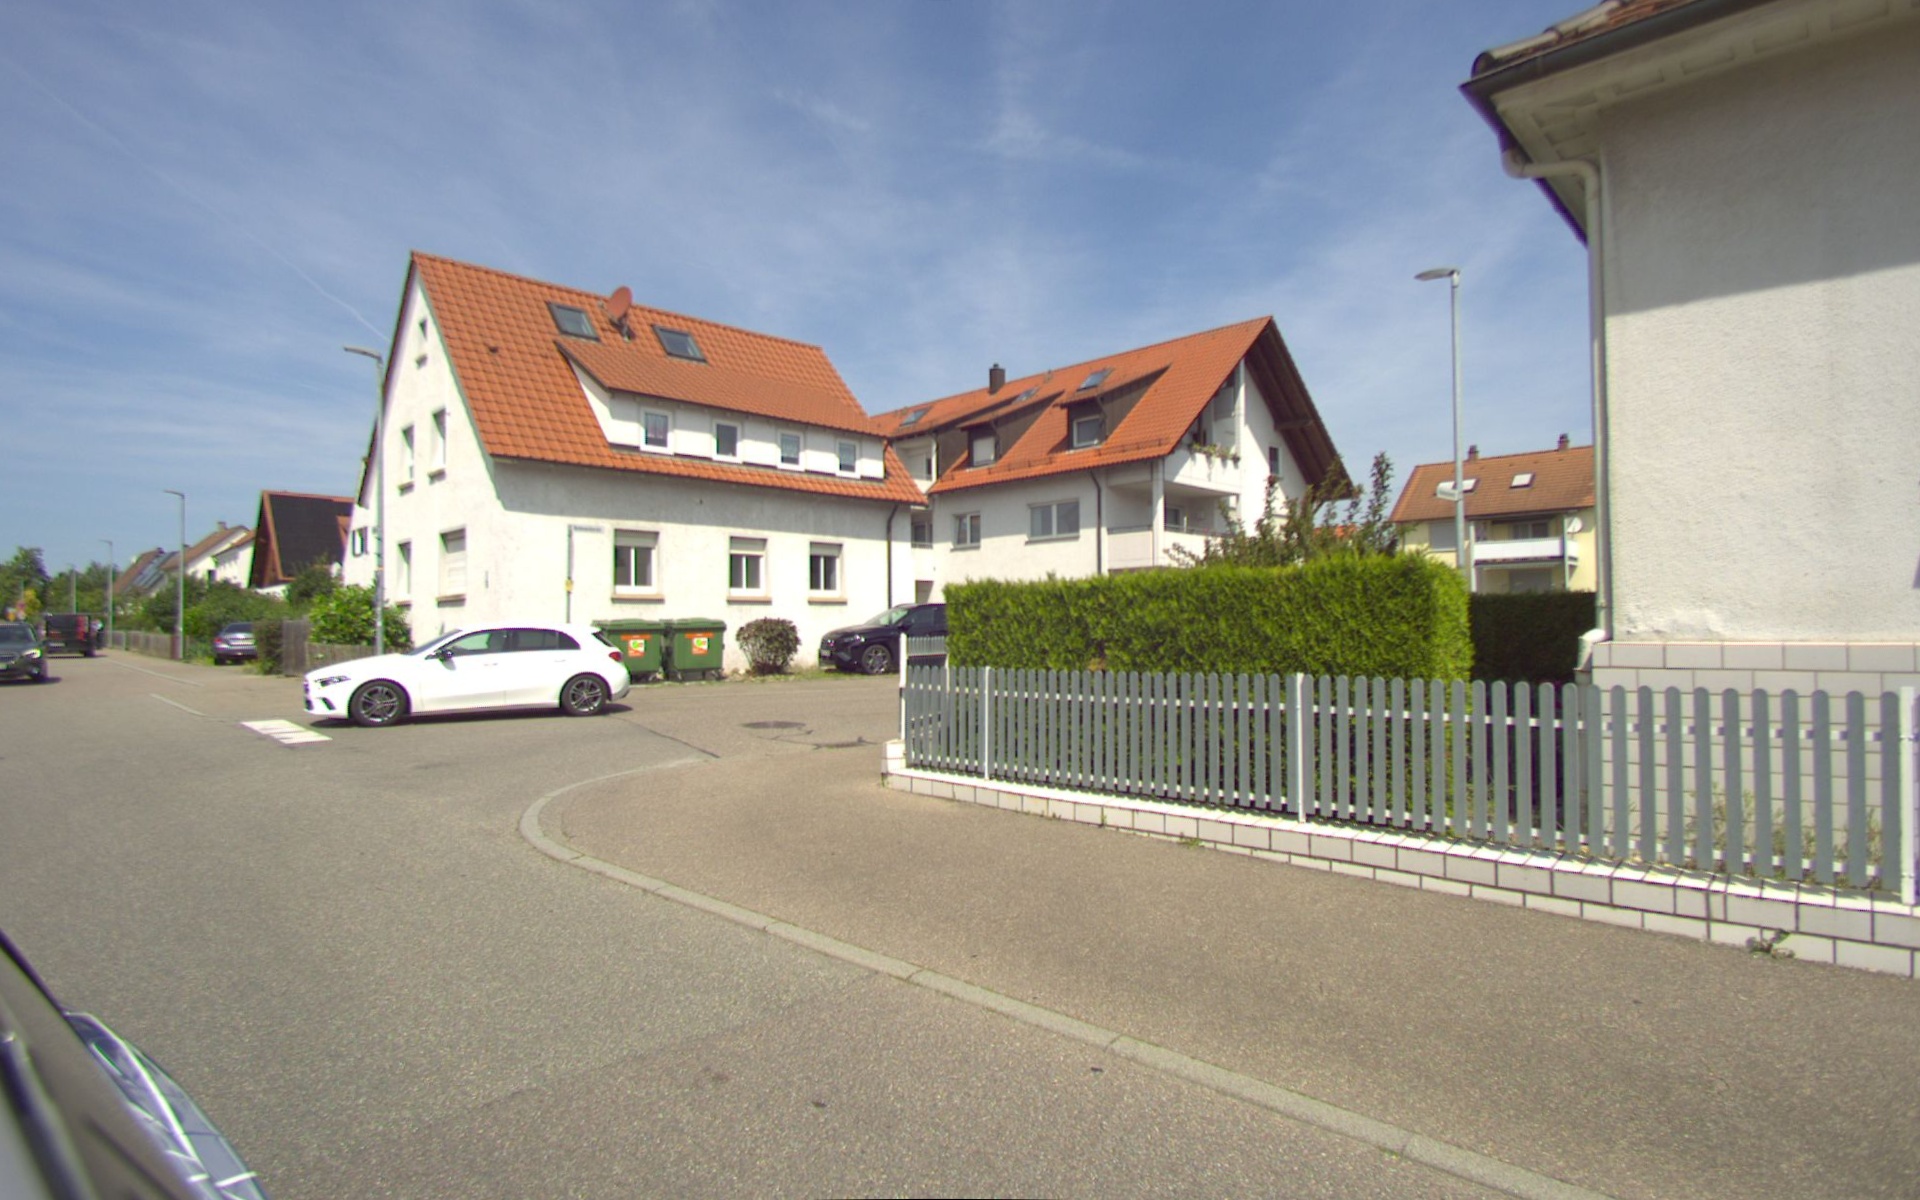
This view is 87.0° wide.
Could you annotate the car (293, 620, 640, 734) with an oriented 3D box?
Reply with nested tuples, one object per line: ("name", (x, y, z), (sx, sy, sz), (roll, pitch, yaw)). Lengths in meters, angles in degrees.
("car", (-7.286, 1.037, 15.150), (4.418, 1.408, 1.935), (0, -1, -31))

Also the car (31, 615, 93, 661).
("car", (-40.939, 1.683, 46.098), (1.945, 1.966, 4.700), (0, -1, -44))

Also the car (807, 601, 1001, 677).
("car", (-1.317, 0.858, 23.933), (4.204, 1.558, 1.796), (0, 2, -28))

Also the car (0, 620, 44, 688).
("car", (-25.034, 1.368, 26.174), (1.812, 1.660, 4.326), (-1, -1, -44))

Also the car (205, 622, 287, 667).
("car", (-25.153, 1.519, 35.783), (1.801, 1.443, 4.577), (-1, -1, -28))

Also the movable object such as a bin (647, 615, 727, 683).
("movable object such as a bin", (-5.794, 1.001, 21.476), (1.246, 1.346, 1.316), (-1, 0, -36))

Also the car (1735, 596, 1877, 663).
("car", (22.404, 0.743, 26.783), (3.712, 1.663, 1.781), (0, -1, -32))

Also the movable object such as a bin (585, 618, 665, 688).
("movable object such as a bin", (-6.827, 1.052, 20.615), (1.246, 1.323, 1.169), (-1, 0, -36))
